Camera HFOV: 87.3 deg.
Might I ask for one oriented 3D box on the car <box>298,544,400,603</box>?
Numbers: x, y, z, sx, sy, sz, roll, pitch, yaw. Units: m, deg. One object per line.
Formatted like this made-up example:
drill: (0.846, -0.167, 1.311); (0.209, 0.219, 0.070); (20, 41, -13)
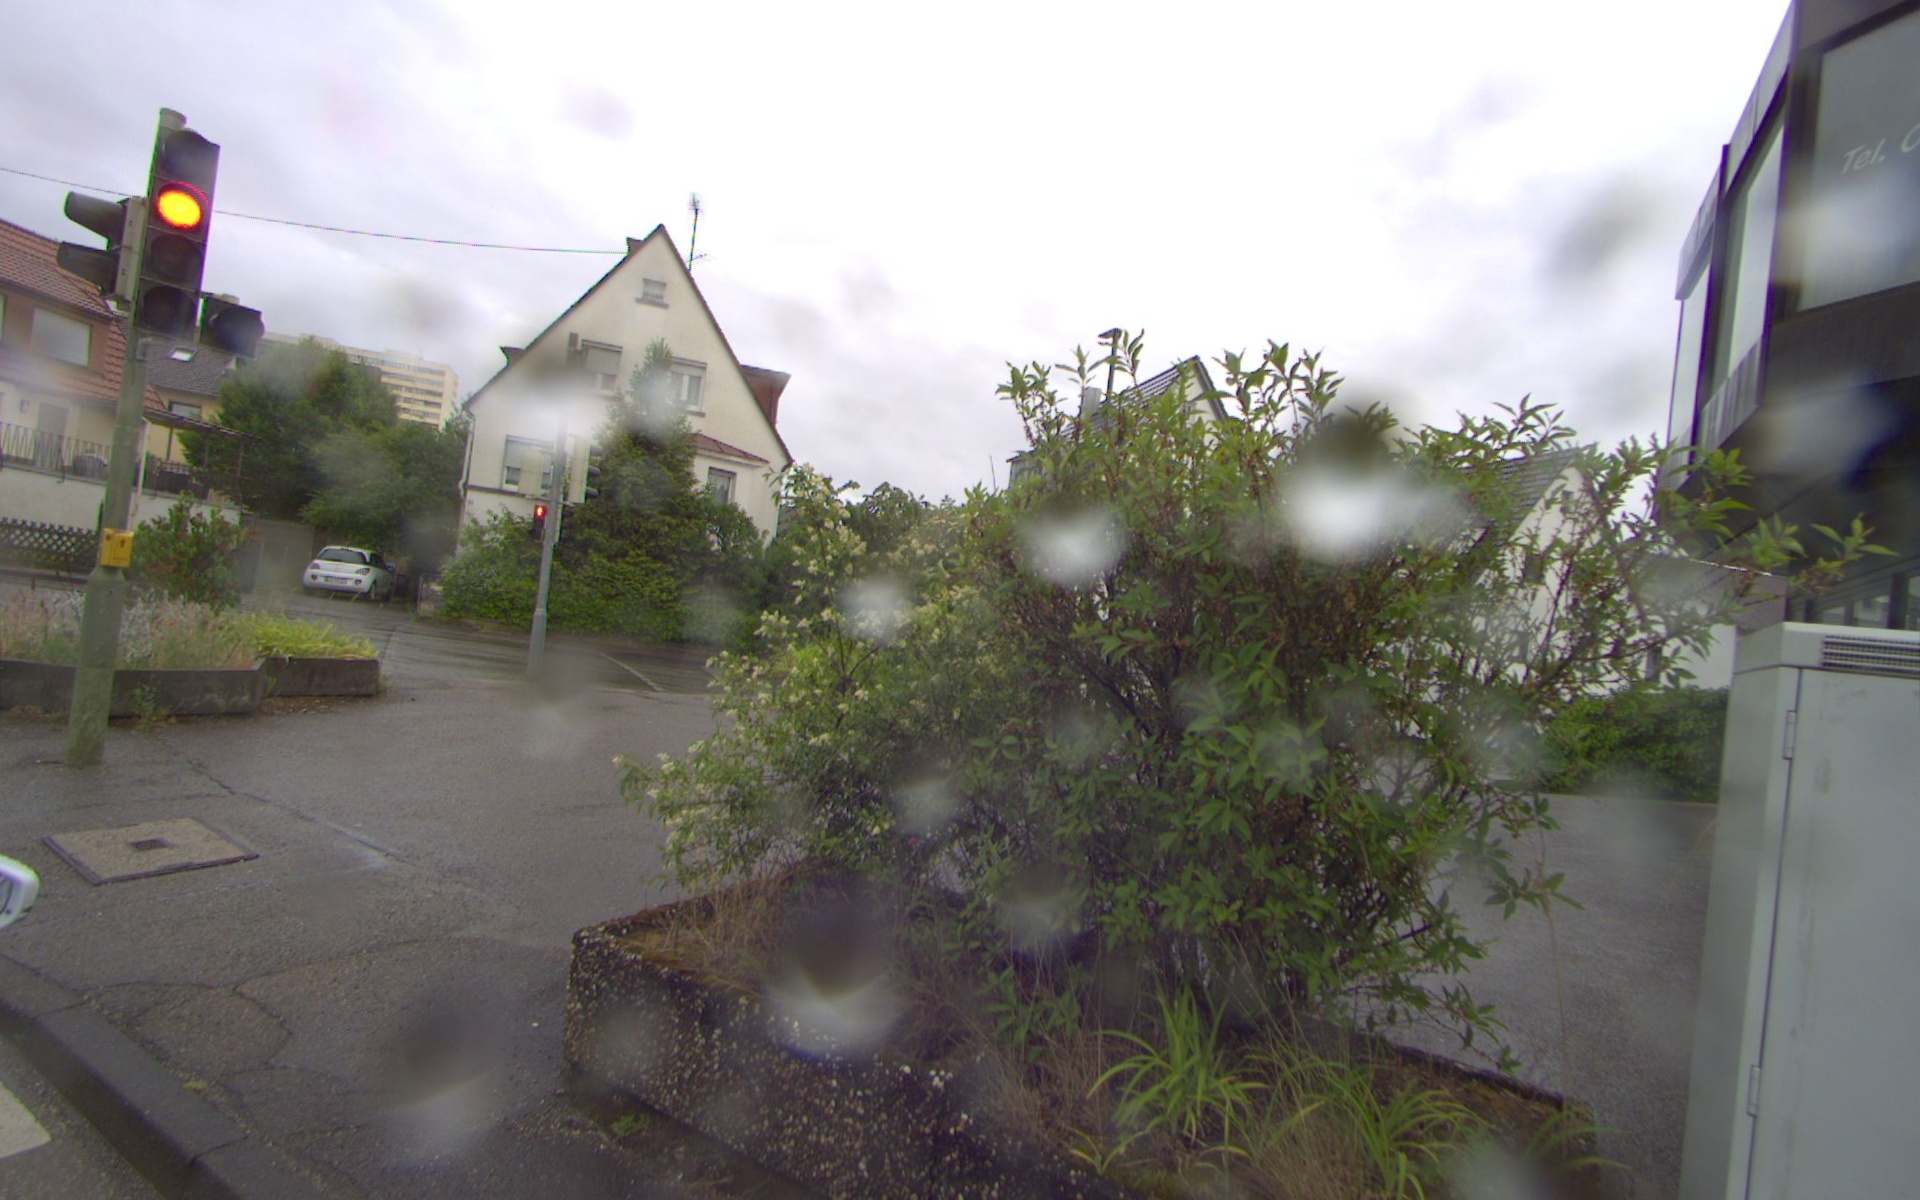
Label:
car: (-17.765, -0.744, 29.422); (1.794, 1.378, 3.981); (8, -2, -22)

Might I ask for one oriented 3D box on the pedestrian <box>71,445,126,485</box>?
pedestrian: (-24.280, -3.801, 28.371); (0.623, 0.893, 0.920); (5, -2, 13)
